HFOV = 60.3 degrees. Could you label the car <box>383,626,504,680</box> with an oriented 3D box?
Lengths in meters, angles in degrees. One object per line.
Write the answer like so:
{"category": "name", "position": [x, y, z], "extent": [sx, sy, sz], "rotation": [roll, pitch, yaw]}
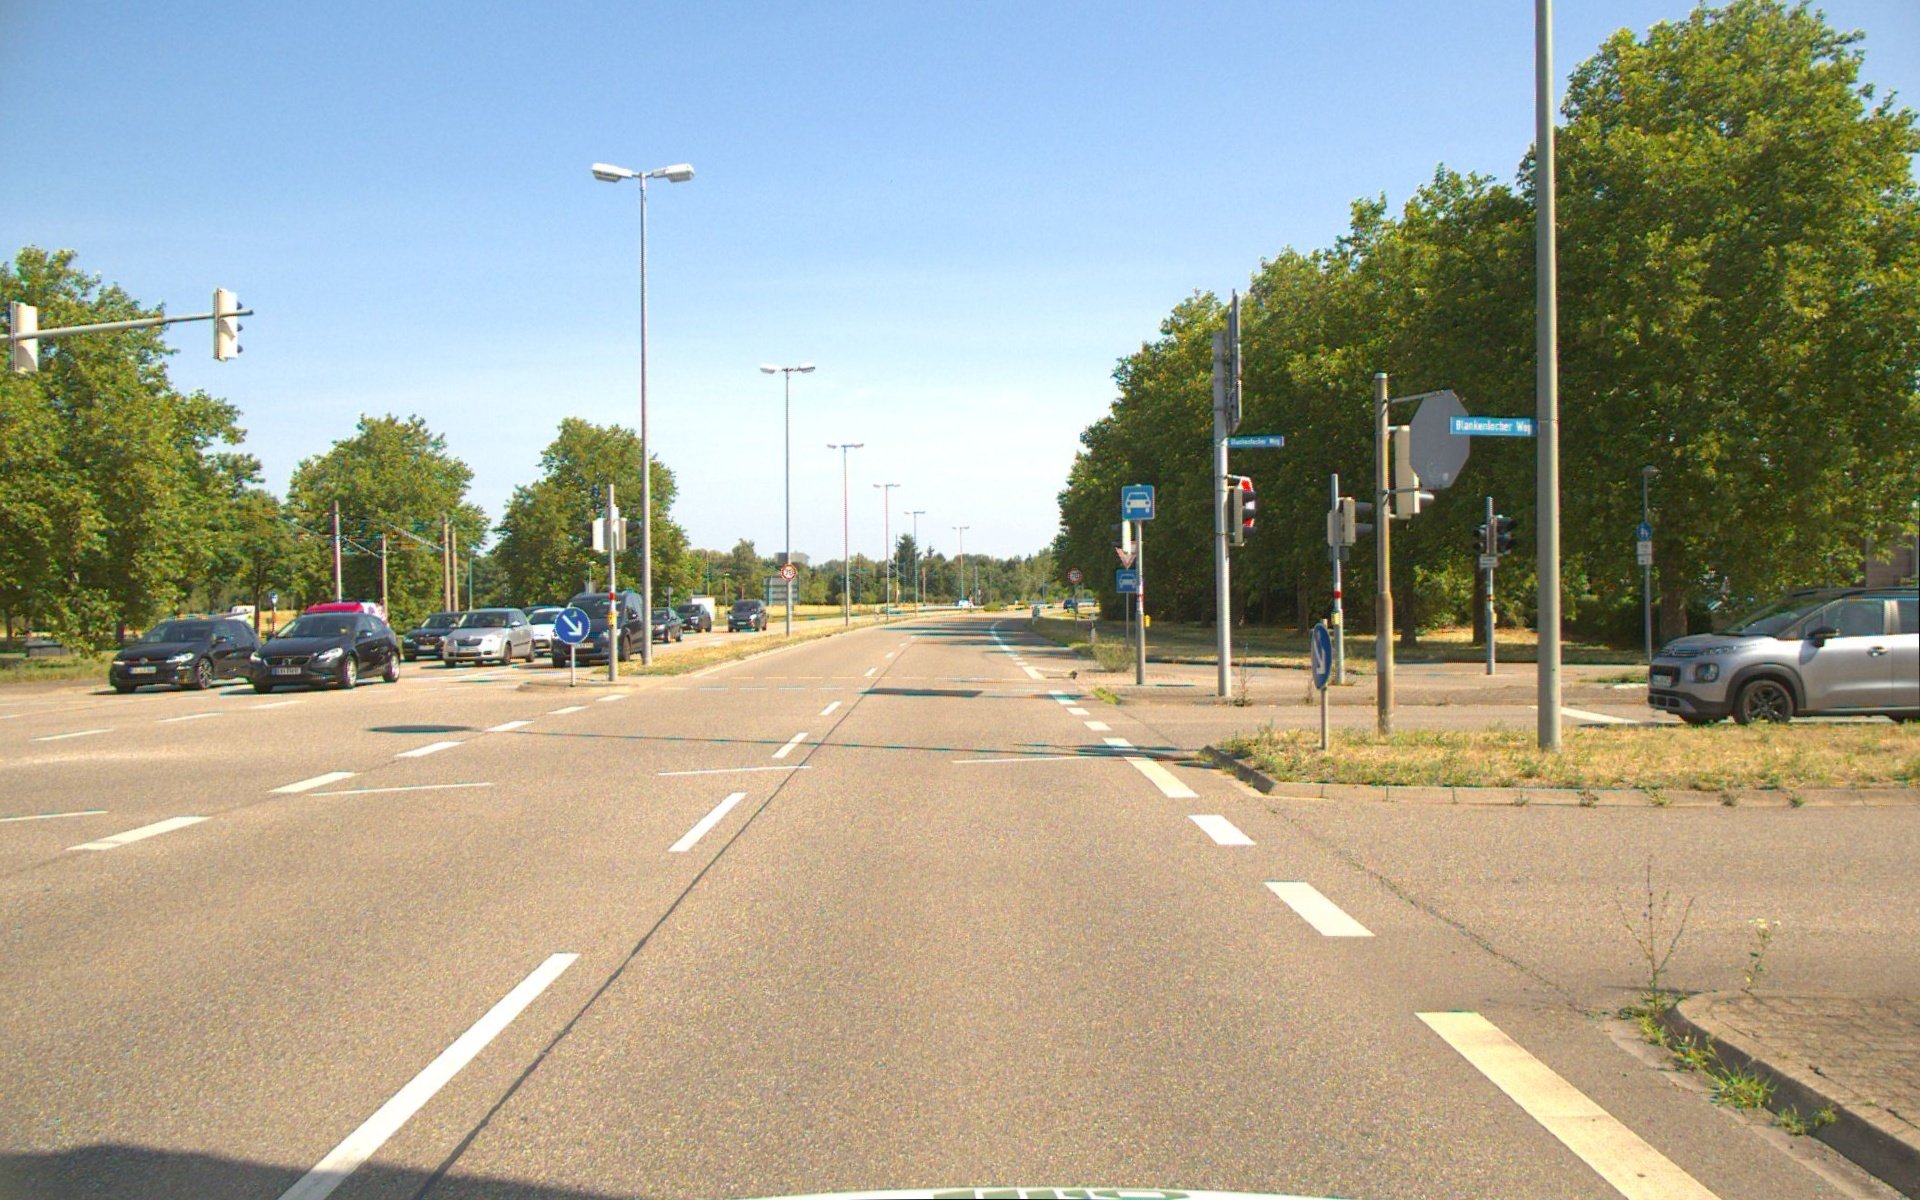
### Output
{"category": "car", "position": [-16.424, 1.651, 52.931], "extent": [1.952, 1.500, 5.618], "rotation": [-1, 0, 2]}

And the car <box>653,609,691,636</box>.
{"category": "car", "position": [-16.519, 1.272, 95.029], "extent": [1.944, 1.483, 4.222], "rotation": [-1, 0, -8]}

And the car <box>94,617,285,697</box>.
{"category": "car", "position": [-15.916, 1.133, 34.414], "extent": [1.846, 1.483, 4.230], "rotation": [-1, 0, 2]}

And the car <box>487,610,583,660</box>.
{"category": "car", "position": [-13.009, 1.050, 50.831], "extent": [1.791, 1.410, 3.844], "rotation": [-1, 0, 2]}

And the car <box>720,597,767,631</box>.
{"category": "car", "position": [-12.200, 0.784, 93.343], "extent": [1.940, 1.810, 4.490], "rotation": [-1, 0, 1]}

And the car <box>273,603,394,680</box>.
{"category": "car", "position": [-15.861, 1.009, 42.087], "extent": [1.670, 1.800, 4.226], "rotation": [-2, 0, -4]}

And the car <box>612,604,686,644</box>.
{"category": "car", "position": [-12.242, 0.925, 65.397], "extent": [1.940, 1.483, 4.451], "rotation": [-1, 0, 2]}

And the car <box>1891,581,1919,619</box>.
{"category": "car", "position": [47.831, -0.031, 79.992], "extent": [4.398, 1.781, 1.989], "rotation": [-1, 0, 5]}

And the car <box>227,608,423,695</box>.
{"category": "car", "position": [-12.037, 0.932, 31.682], "extent": [1.940, 1.483, 4.333], "rotation": [-1, 0, 2]}

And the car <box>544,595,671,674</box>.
{"category": "car", "position": [-8.486, 0.785, 40.195], "extent": [1.940, 1.781, 4.509], "rotation": [-1, 0, 2]}

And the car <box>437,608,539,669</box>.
{"category": "car", "position": [-12.338, 0.975, 43.427], "extent": [1.586, 1.483, 3.870], "rotation": [-1, 0, -1]}

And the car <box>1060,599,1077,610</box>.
{"category": "car", "position": [15.497, 0.654, 235.880], "extent": [1.939, 1.483, 4.121], "rotation": [-2, 0, 9]}

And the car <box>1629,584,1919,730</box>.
{"category": "car", "position": [10.199, 0.627, 19.424], "extent": [3.969, 1.591, 1.742], "rotation": [-1, 0, -1]}
